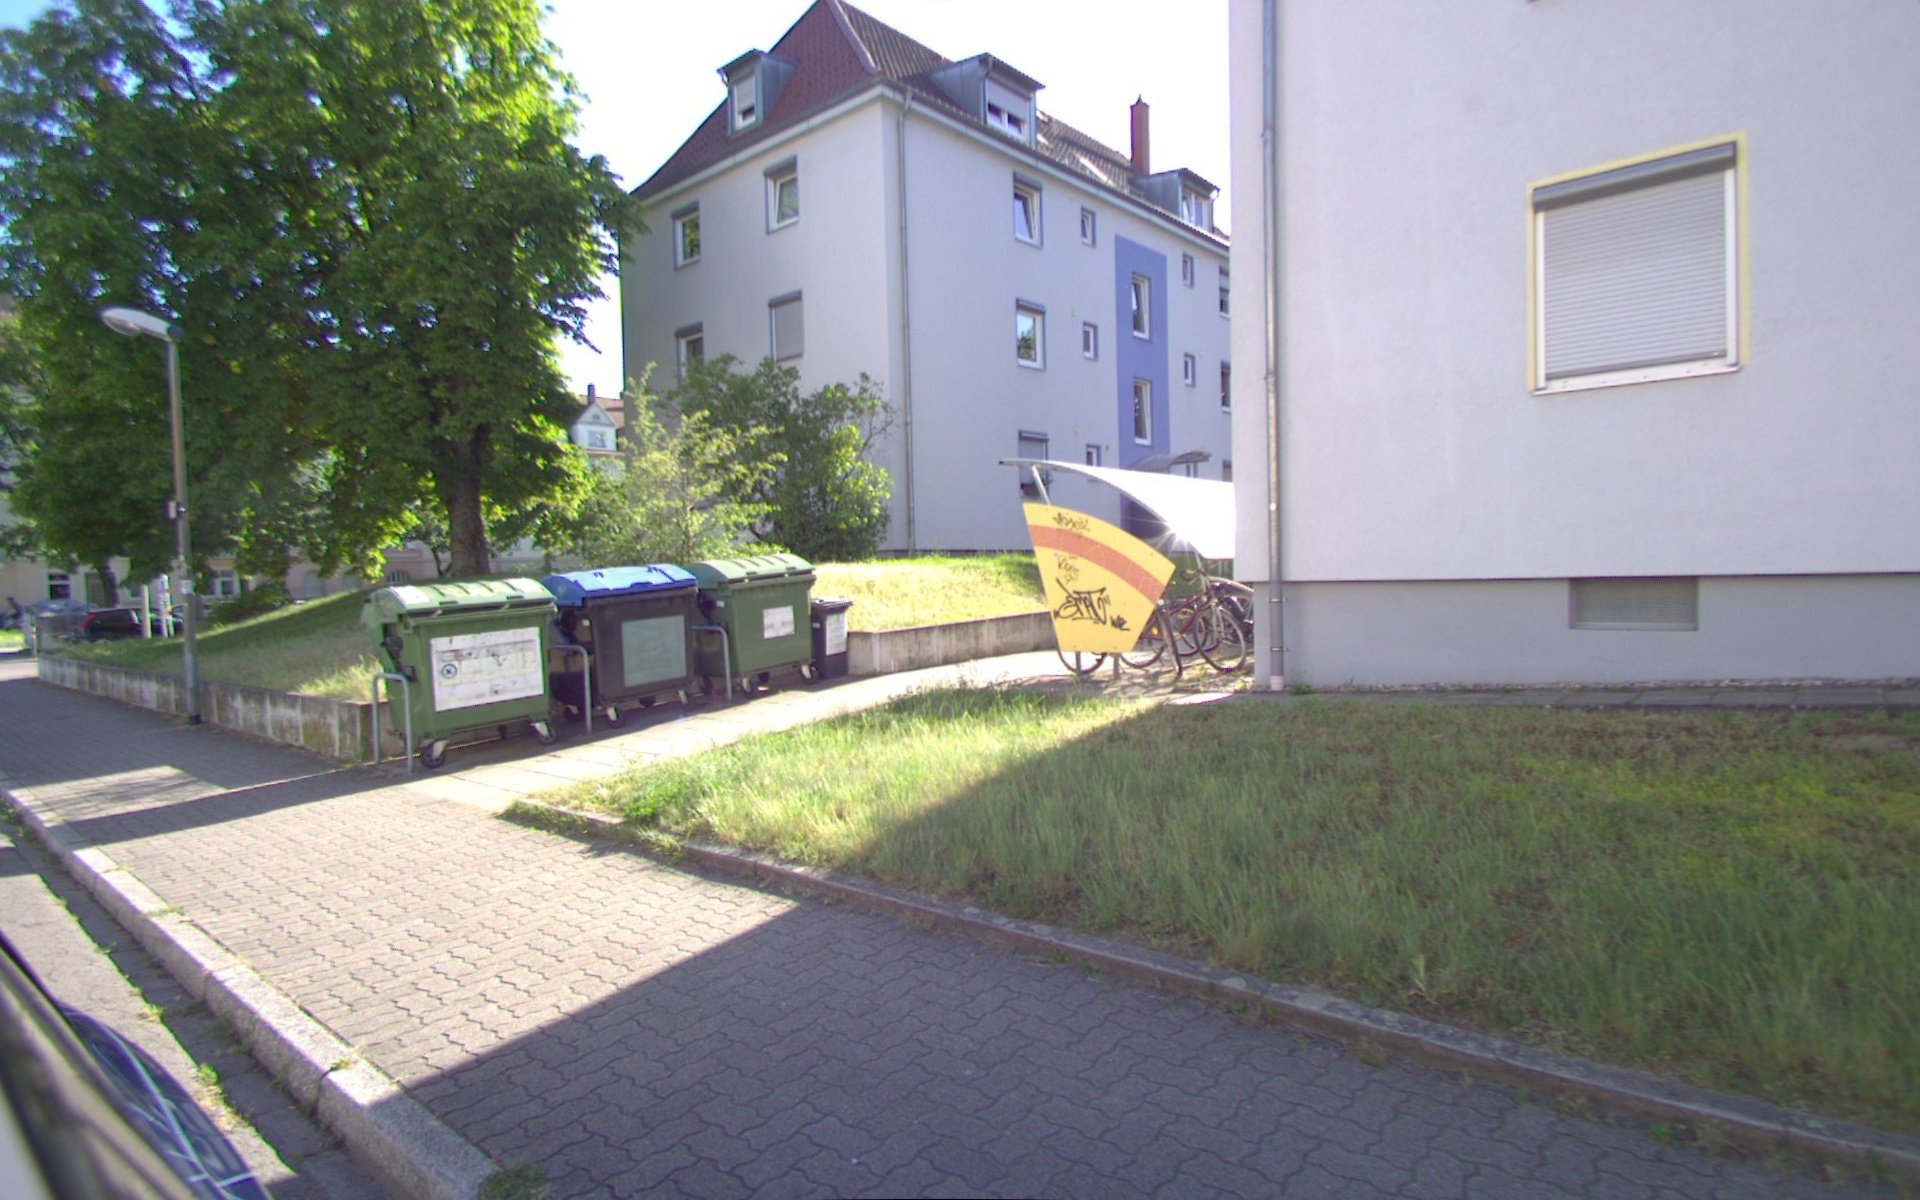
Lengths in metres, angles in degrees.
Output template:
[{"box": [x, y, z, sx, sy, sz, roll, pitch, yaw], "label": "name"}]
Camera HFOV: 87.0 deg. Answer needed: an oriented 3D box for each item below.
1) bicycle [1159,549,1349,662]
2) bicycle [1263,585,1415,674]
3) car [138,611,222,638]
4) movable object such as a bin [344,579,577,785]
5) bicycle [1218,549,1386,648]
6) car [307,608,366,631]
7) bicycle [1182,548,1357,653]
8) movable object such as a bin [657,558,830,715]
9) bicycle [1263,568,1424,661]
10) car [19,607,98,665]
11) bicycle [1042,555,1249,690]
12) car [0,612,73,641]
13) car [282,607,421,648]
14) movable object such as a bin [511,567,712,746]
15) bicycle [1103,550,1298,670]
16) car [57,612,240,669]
[{"box": [3.409, 0.062, 11.866, 2.008, 1.227, 0.670, -1, 1, 41], "label": "bicycle"}, {"box": [5.618, 0.431, 15.080, 2.008, 1.227, 0.633, -1, 1, 41], "label": "bicycle"}, {"box": [-46.182, 1.412, 59.973, 1.624, 1.456, 3.737, -1, 0, 42], "label": "car"}, {"box": [-4.201, 0.621, 8.546, 1.197, 1.470, 1.302, -1, 4, 41], "label": "movable object such as a bin"}, {"box": [4.539, -0.015, 13.520, 2.008, 1.227, 0.633, -1, 1, 41], "label": "bicycle"}, {"box": [-43.767, 1.350, 71.066, 1.544, 1.519, 3.152, -1, 0, 40], "label": "car"}, {"box": [3.884, 0.009, 12.814, 2.008, 1.227, 0.633, -1, 1, 41], "label": "bicycle"}, {"box": [-2.317, 0.351, 10.900, 1.072, 1.464, 1.347, -1, 5, 41], "label": "movable object such as a bin"}, {"box": [5.367, 0.199, 14.255, 2.008, 1.227, 0.633, -1, 1, 41], "label": "bicycle"}, {"box": [-28.106, 1.086, 31.528, 1.655, 1.667, 3.306, -1, 0, -45], "label": "car"}, {"box": [1.858, 0.216, 10.347, 2.008, 1.260, 0.633, -1, 1, 41], "label": "bicycle"}, {"box": [-50.558, 1.421, 54.716, 1.624, 1.456, 3.737, -1, 0, 42], "label": "car"}, {"box": [-21.050, 0.914, 35.131, 1.629, 1.282, 3.813, -1, 0, 41], "label": "car"}, {"box": [-3.316, 0.491, 9.691, 1.082, 1.470, 1.341, -1, 5, 41], "label": "movable object such as a bin"}, {"box": [2.623, 0.105, 11.209, 2.008, 1.227, 0.633, -1, 1, 41], "label": "bicycle"}, {"box": [-24.594, 1.174, 30.772, 1.728, 1.508, 4.087, -1, 0, 41], "label": "car"}]
